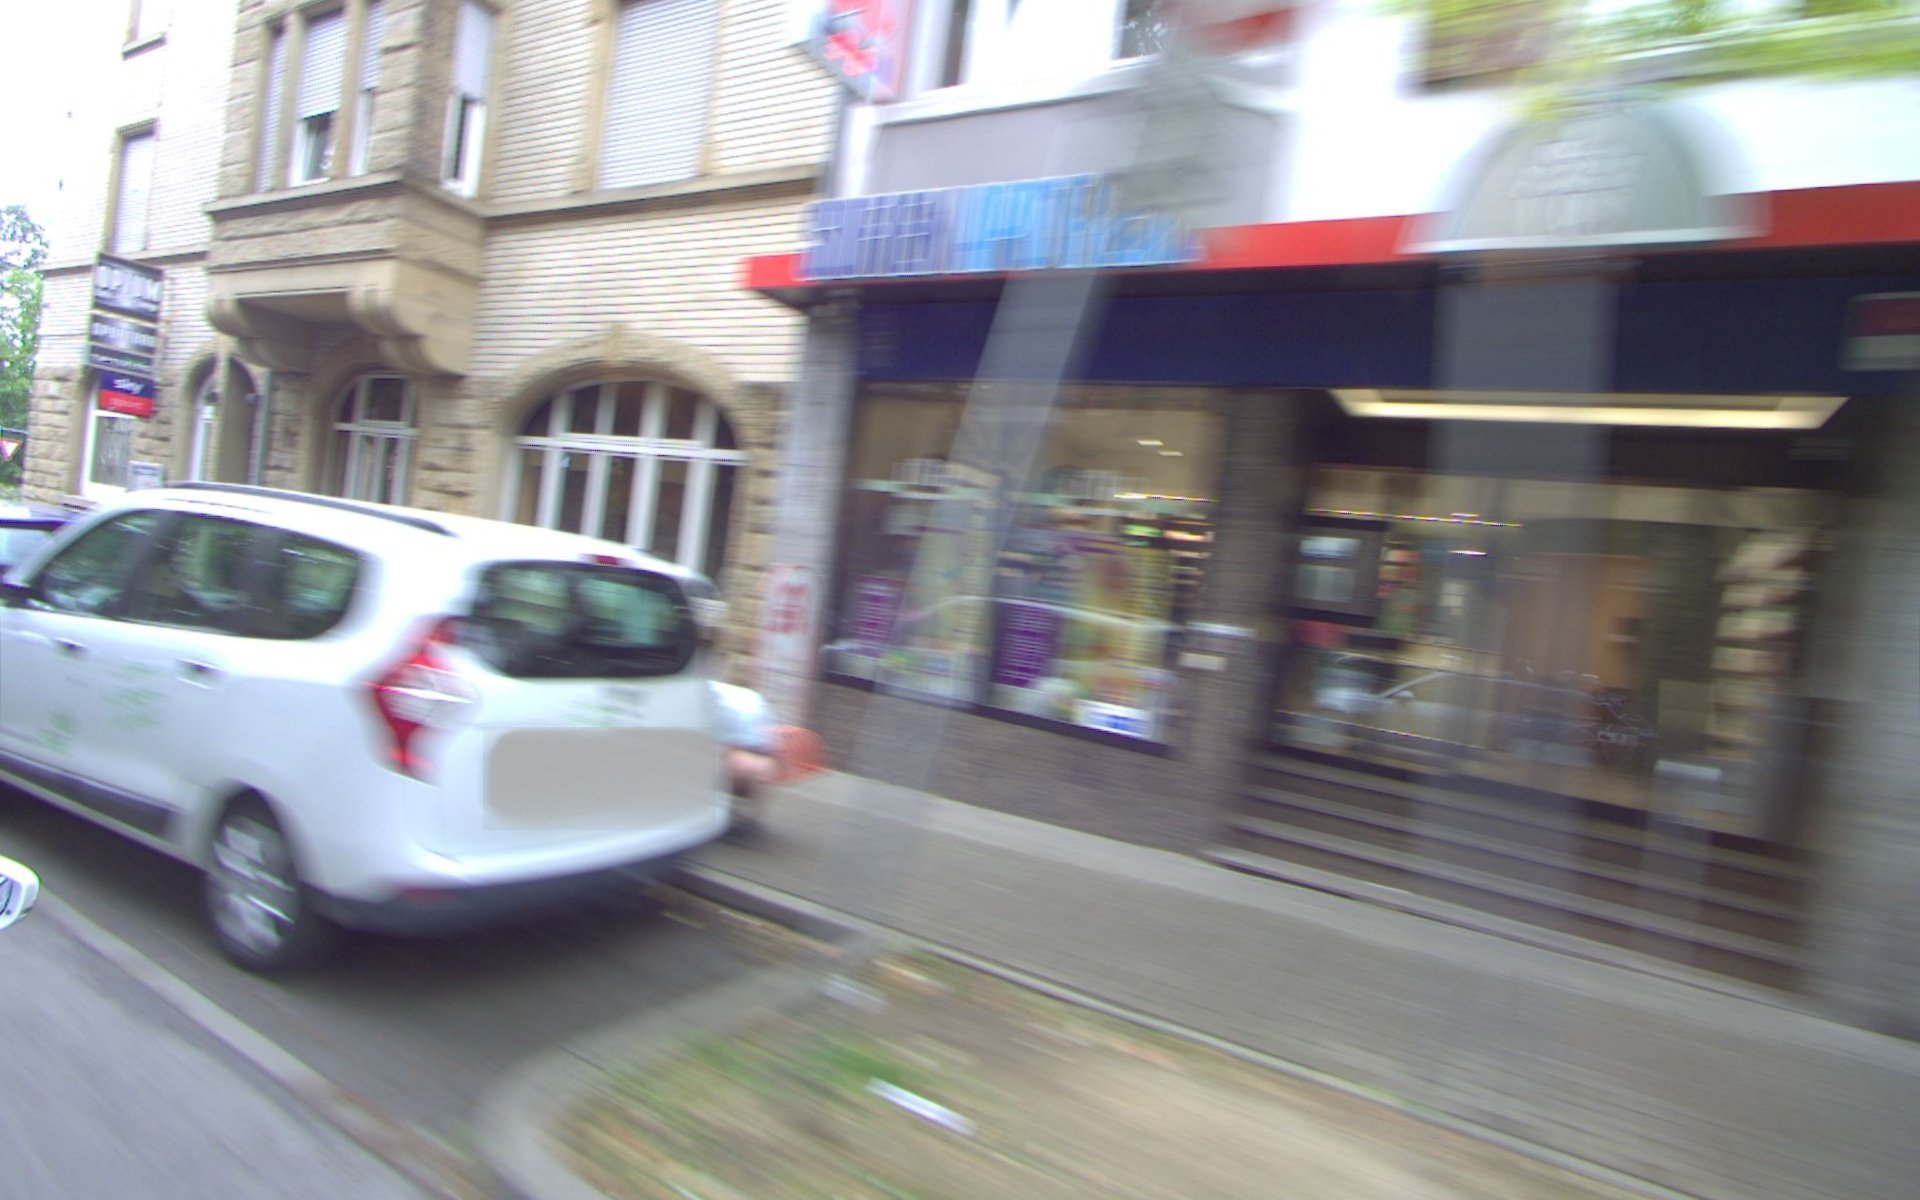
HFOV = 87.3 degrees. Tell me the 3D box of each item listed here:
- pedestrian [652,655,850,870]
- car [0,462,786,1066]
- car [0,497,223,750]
[{"bbox_3d":[-1.085,0.815,5.277,0.681,0.952,0.626,7,0,27],"label":"pedestrian"},{"bbox_3d":[-3.185,0.351,4.785,4.466,1.685,1.680,7,2,29],"label":"car"},{"bbox_3d":[-7.211,-0.029,7.167,4.204,1.416,1.606,7,2,31],"label":"car"}]
